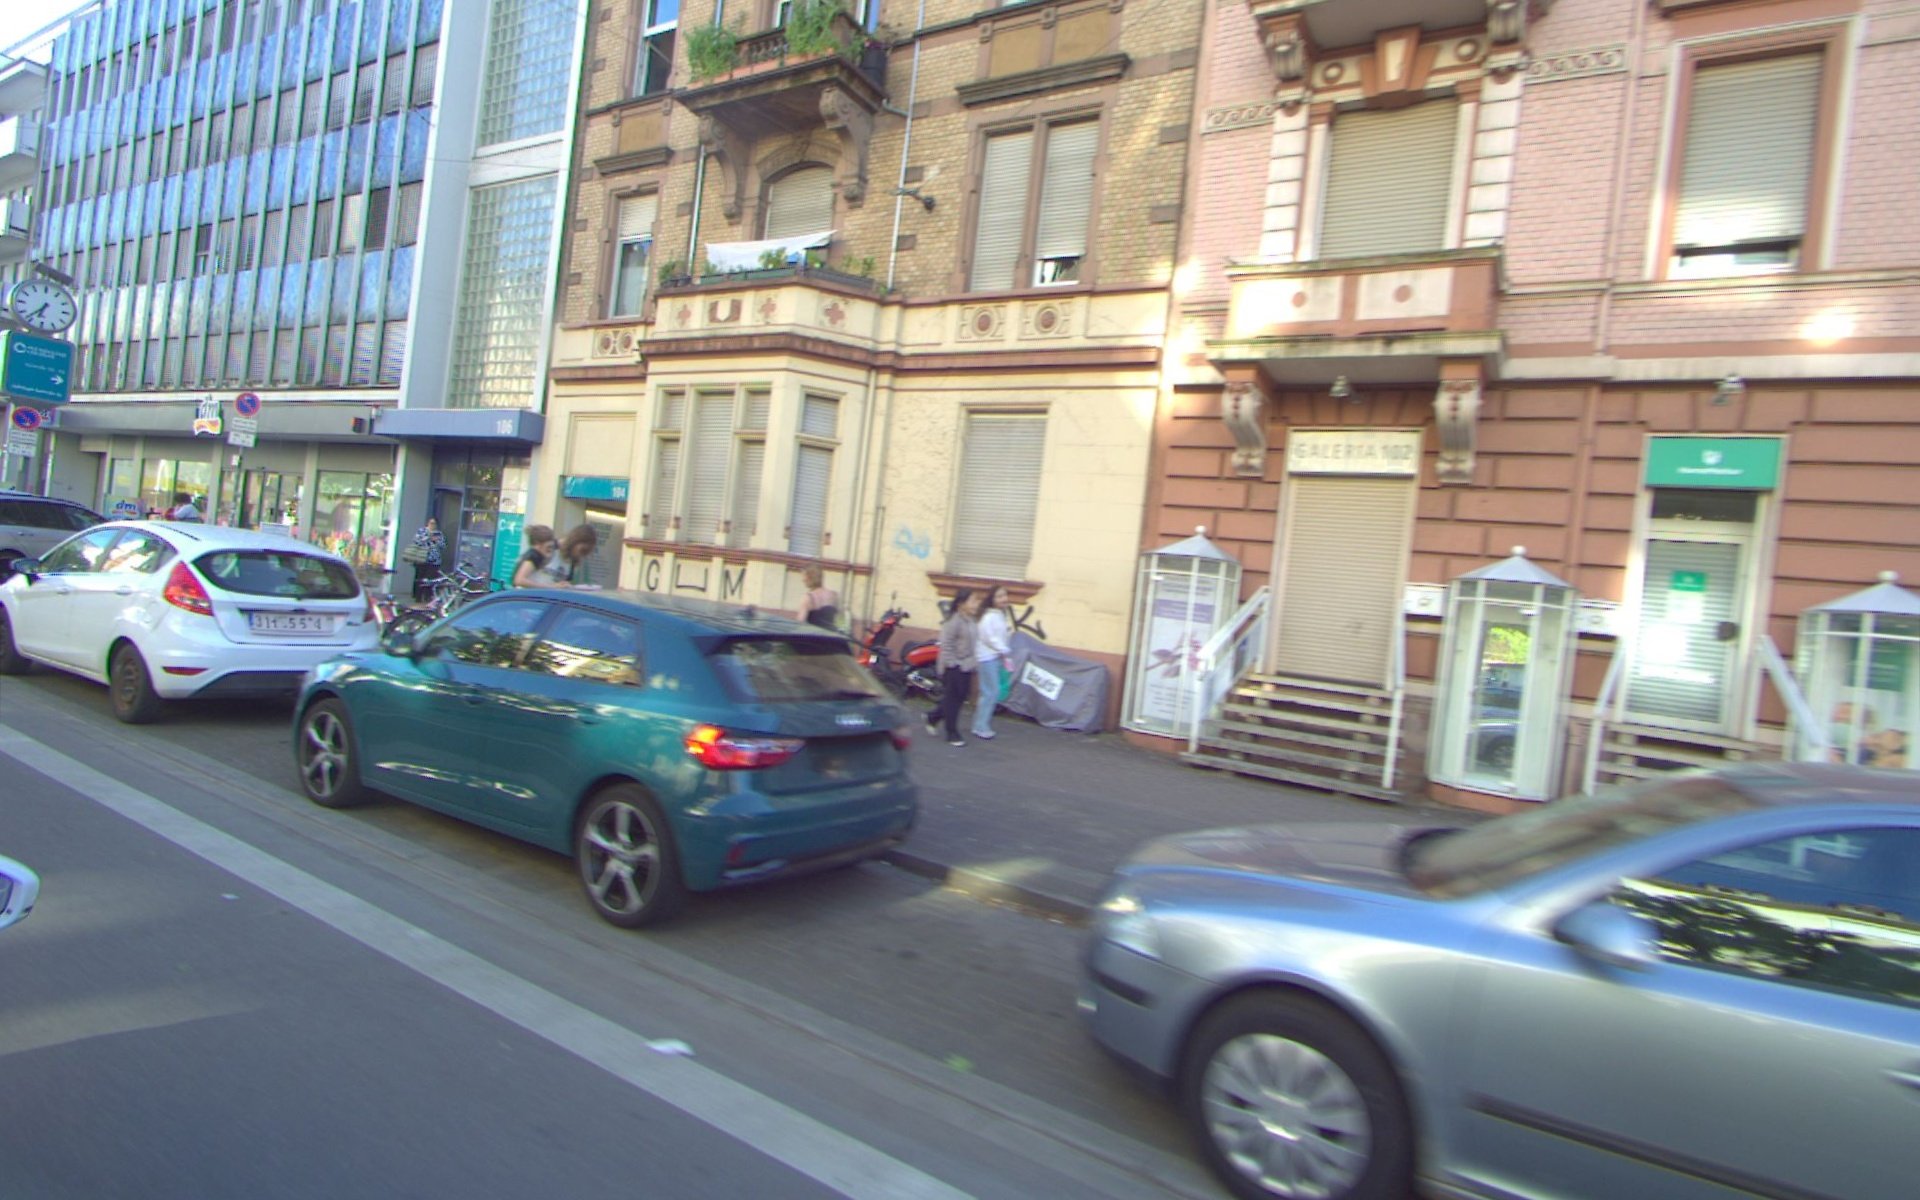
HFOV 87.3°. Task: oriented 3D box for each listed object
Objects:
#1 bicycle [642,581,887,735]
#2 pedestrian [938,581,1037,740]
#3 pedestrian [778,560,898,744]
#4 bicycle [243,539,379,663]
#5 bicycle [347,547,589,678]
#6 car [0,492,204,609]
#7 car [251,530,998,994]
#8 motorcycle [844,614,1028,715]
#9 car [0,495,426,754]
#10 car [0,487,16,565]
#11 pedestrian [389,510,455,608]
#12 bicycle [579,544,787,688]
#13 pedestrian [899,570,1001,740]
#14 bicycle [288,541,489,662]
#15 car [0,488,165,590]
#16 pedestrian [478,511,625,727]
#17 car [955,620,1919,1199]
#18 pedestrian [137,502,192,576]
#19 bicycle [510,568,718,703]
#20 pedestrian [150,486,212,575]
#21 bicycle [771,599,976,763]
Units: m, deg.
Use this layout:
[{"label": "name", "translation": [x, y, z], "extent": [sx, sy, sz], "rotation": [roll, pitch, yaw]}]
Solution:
[{"label": "bicycle", "translation": [-1.758, 0.600, 9.634], "extent": [0.653, 1.235, 2.543], "rotation": [7, -2, 31]}, {"label": "pedestrian", "translation": [0.311, 0.668, 11.062], "extent": [0.643, 1.626, 0.713], "rotation": [7, -1, 31]}, {"label": "pedestrian", "translation": [-1.152, 0.496, 9.557], "extent": [0.643, 1.626, 0.713], "rotation": [7, -1, 31]}, {"label": "bicycle", "translation": [-7.168, 0.006, 11.113], "extent": [1.218, 1.199, 0.694], "rotation": [7, -1, 31]}, {"label": "bicycle", "translation": [-5.533, 0.195, 11.511], "extent": [0.653, 1.236, 2.360], "rotation": [7, -2, 35]}, {"label": "car", "translation": [-13.965, -0.773, 15.152], "extent": [1.507, 1.525, 4.457], "rotation": [7, -2, 2]}, {"label": "car", "translation": [-2.023, 0.650, 5.799], "extent": [3.934, 1.615, 1.876], "rotation": [6, -1, 32]}, {"label": "motorcycle", "translation": [-0.360, 0.806, 13.215], "extent": [2.477, 1.005, 0.506], "rotation": [6, 3, 32]}, {"label": "car", "translation": [-6.620, 0.122, 8.511], "extent": [3.934, 1.615, 1.876], "rotation": [6, -1, 32]}, {"label": "car", "translation": [-20.020, -1.646, 18.369], "extent": [1.932, 1.538, 3.732], "rotation": [7, -2, -1]}, {"label": "pedestrian", "translation": [-10.746, -0.821, 20.111], "extent": [0.715, 1.827, 0.720], "rotation": [7, -1, 32]}, {"label": "bicycle", "translation": [-2.734, 0.212, 10.183], "extent": [0.653, 1.236, 2.023], "rotation": [7, -2, 31]}, {"label": "pedestrian", "translation": [-0.098, 0.552, 10.364], "extent": [0.643, 1.628, 0.712], "rotation": [7, 2, 31]}, {"label": "bicycle", "translation": [-7.082, 0.032, 12.528], "extent": [2.008, 1.236, 0.657], "rotation": [8, -1, -36]}, {"label": "car", "translation": [-16.308, -1.119, 17.442], "extent": [1.804, 1.504, 3.789], "rotation": [7, -2, 2]}, {"label": "pedestrian", "translation": [-3.405, 0.168, 8.407], "extent": [0.643, 1.691, 0.713], "rotation": [7, -1, 31]}, {"label": "car", "translation": [2.515, 1.173, 2.848], "extent": [4.641, 1.615, 1.876], "rotation": [6, -1, 32]}, {"label": "pedestrian", "translation": [-18.912, -1.446, 23.914], "extent": [0.667, 1.606, 0.694], "rotation": [7, -1, 32]}, {"label": "bicycle", "translation": [-3.598, 0.423, 10.661], "extent": [0.653, 1.236, 2.023], "rotation": [7, -2, 31]}, {"label": "pedestrian", "translation": [-16.731, -1.487, 21.607], "extent": [0.667, 1.777, 0.694], "rotation": [7, -1, 32]}, {"label": "bicycle", "translation": [-0.696, 0.713, 8.964], "extent": [0.652, 1.236, 2.060], "rotation": [7, -1, 30]}]
